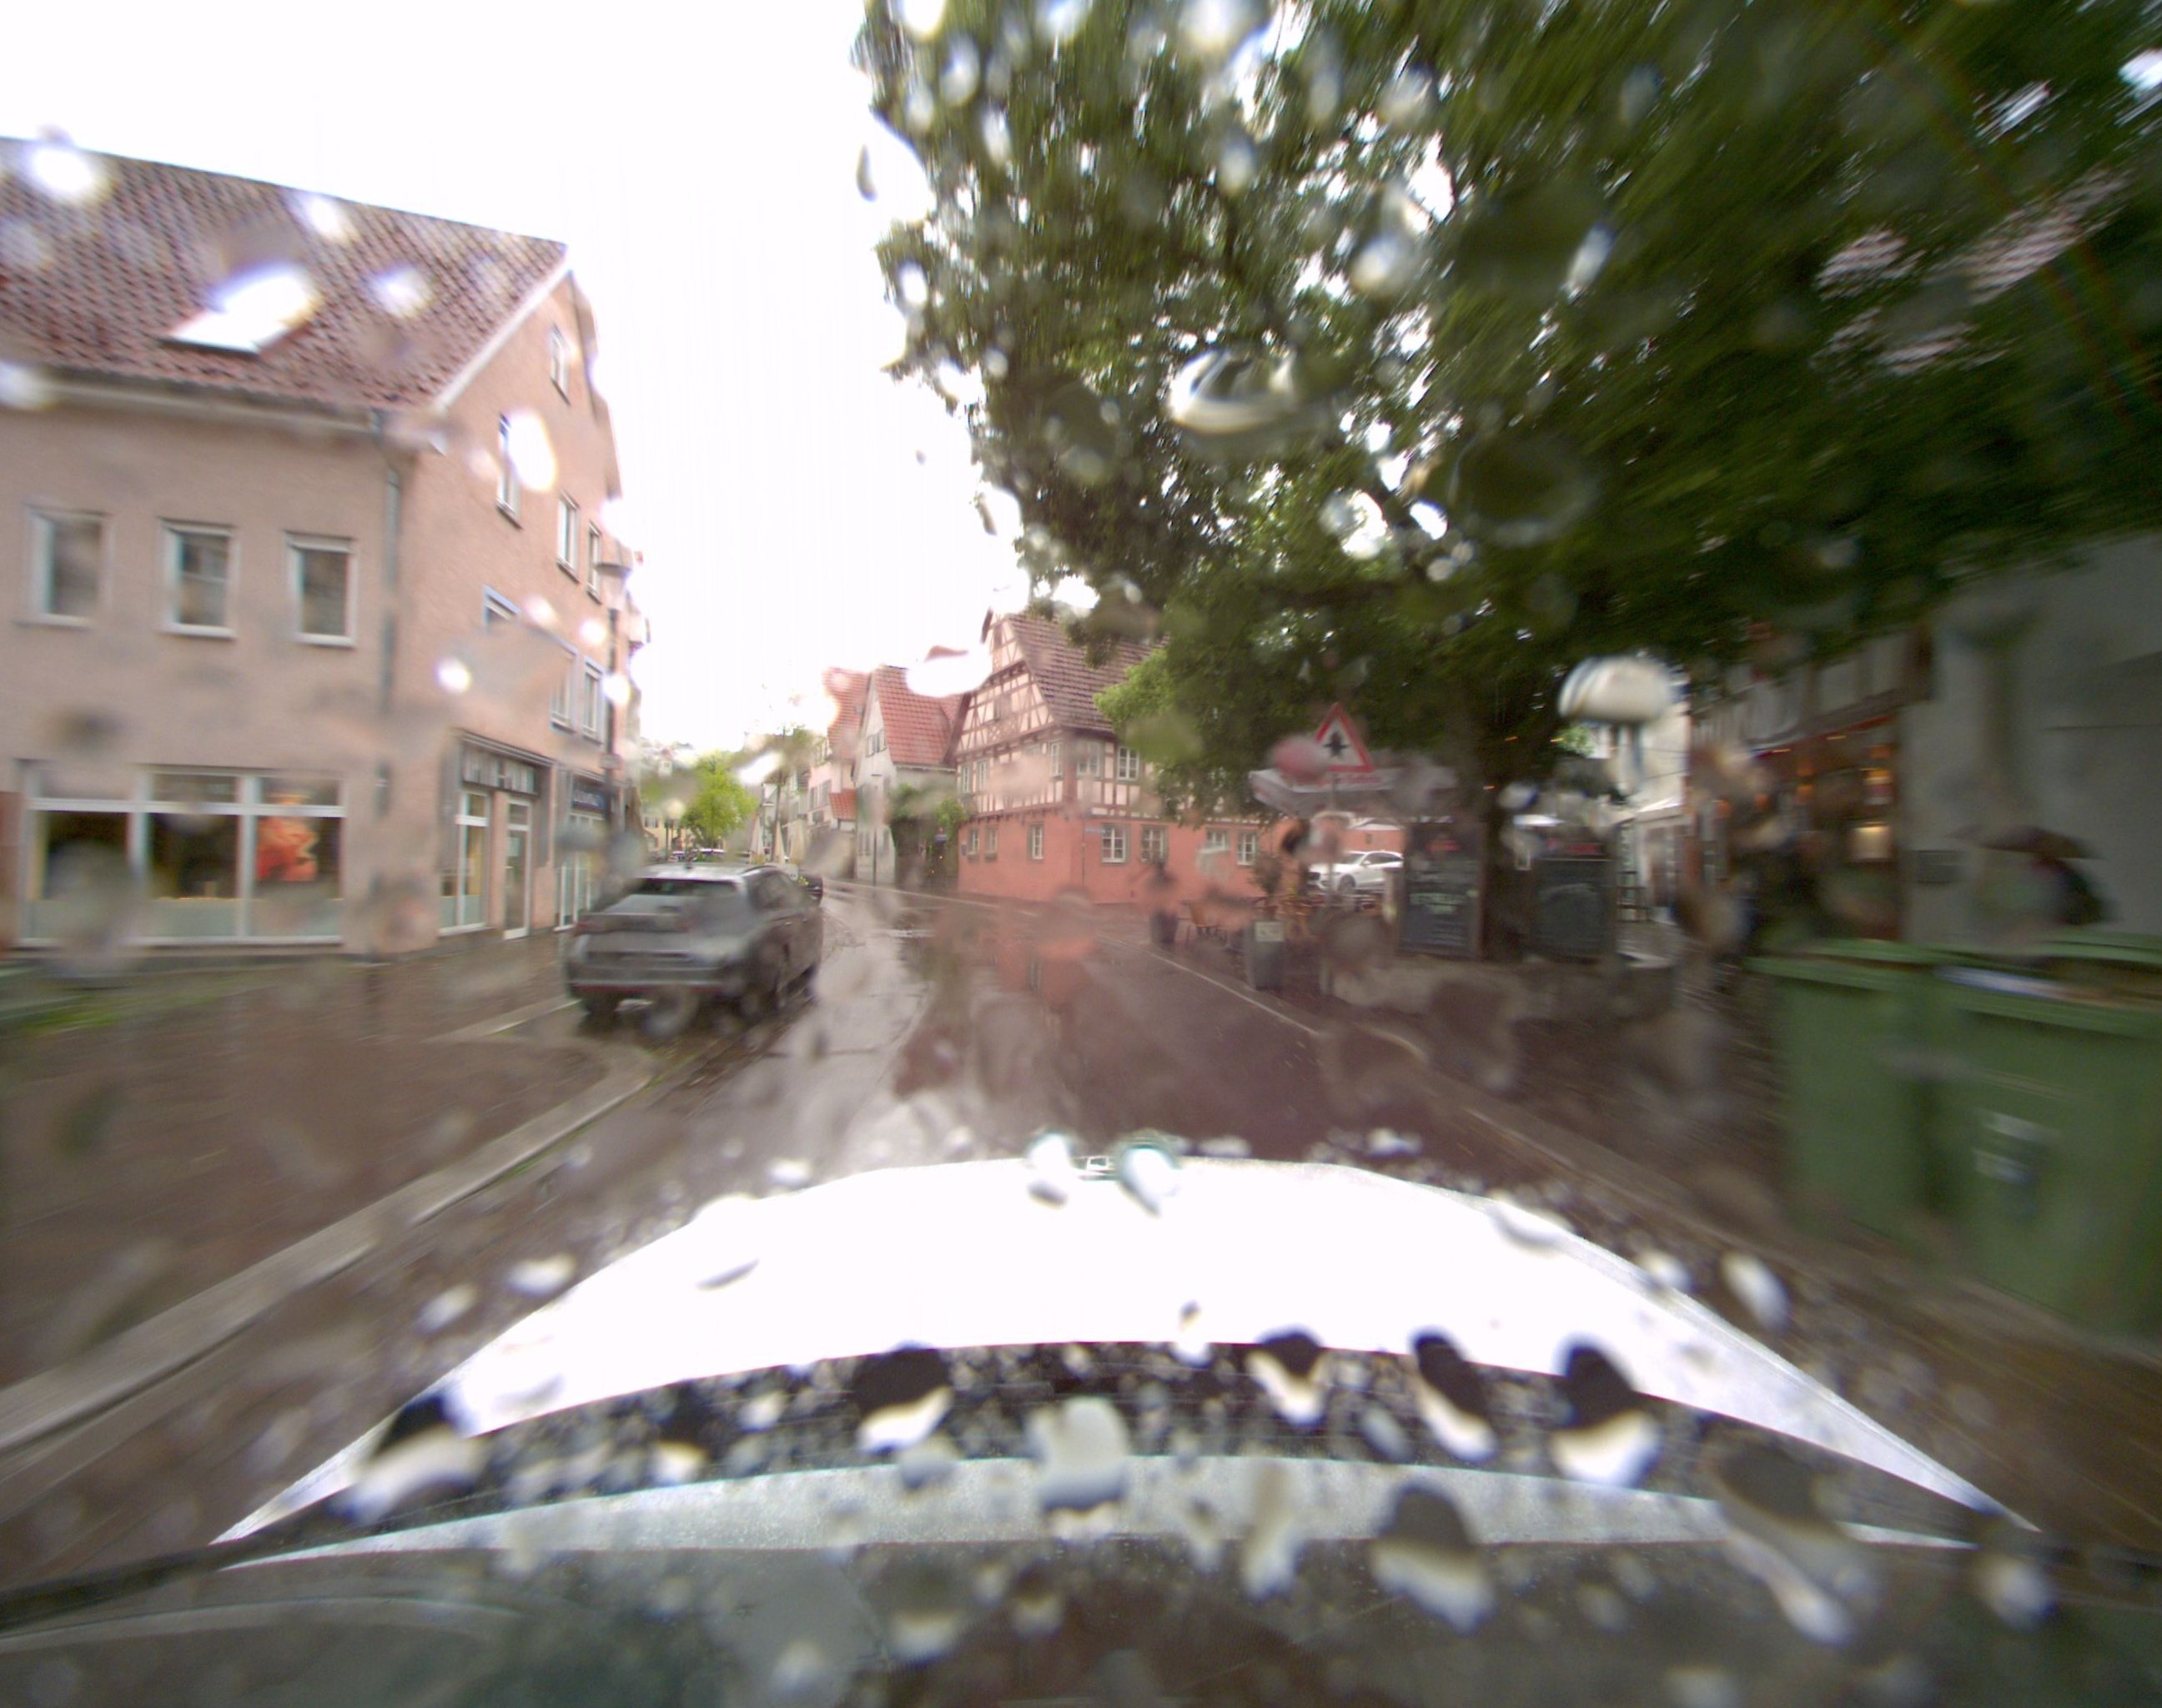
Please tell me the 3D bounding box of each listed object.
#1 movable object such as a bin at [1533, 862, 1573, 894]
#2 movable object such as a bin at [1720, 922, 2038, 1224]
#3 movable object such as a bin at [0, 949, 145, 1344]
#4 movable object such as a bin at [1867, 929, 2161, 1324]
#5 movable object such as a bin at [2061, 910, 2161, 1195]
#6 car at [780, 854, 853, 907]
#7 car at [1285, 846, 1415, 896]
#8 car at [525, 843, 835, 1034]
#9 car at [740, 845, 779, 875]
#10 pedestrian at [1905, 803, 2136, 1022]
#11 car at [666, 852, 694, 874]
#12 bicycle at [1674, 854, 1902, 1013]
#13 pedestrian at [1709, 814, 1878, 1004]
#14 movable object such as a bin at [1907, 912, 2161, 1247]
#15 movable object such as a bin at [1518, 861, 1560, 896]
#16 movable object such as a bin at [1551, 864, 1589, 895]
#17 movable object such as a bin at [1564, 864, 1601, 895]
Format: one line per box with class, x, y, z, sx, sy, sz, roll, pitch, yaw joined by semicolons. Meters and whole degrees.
movable object such as a bin;15.618;0.792;26.933;0.832;1.023;0.849;2;-3;-31
movable object such as a bin;3.244;0.839;3.367;0.724;1.083;0.603;1;-2;-6
movable object such as a bin;-3.612;0.906;2.466;0.697;1.143;0.719;1;0;2
movable object such as a bin;3.260;0.814;2.695;0.724;1.093;0.609;1;-2;-6
movable object such as a bin;4.673;0.821;3.289;0.536;1.131;0.728;-1;0;1
car;-8.021;0.742;24.625;1.867;1.442;4.589;1;0;-19
car;9.862;0.559;29.798;4.630;1.633;1.981;0;2;-31
car;-3.939;0.716;8.916;1.876;1.540;4.384;1;-1;-10
car;-20.911;0.345;52.879;1.905;1.811;3.964;3;-1;-28
pedestrian;7.882;0.470;6.895;0.880;1.713;0.891;0;-2;7
car;-29.397;0.641;59.629;1.701;1.538;4.084;2;-1;-28
bicycle;6.880;0.695;8.124;0.917;1.350;2.226;-2;-1;19
pedestrian;6.778;0.511;7.819;0.903;1.698;0.865;-2;-2;19
movable object such as a bin;3.982;0.838;3.293;0.536;1.142;0.728;-1;0;1
movable object such as a bin;14.867;0.813;26.441;0.882;1.111;0.849;2;-3;-31
movable object such as a bin;16.438;0.856;27.395;0.700;1.026;0.849;2;-3;-31
movable object such as a bin;17.112;0.878;27.786;0.700;1.026;0.849;2;-3;-31
